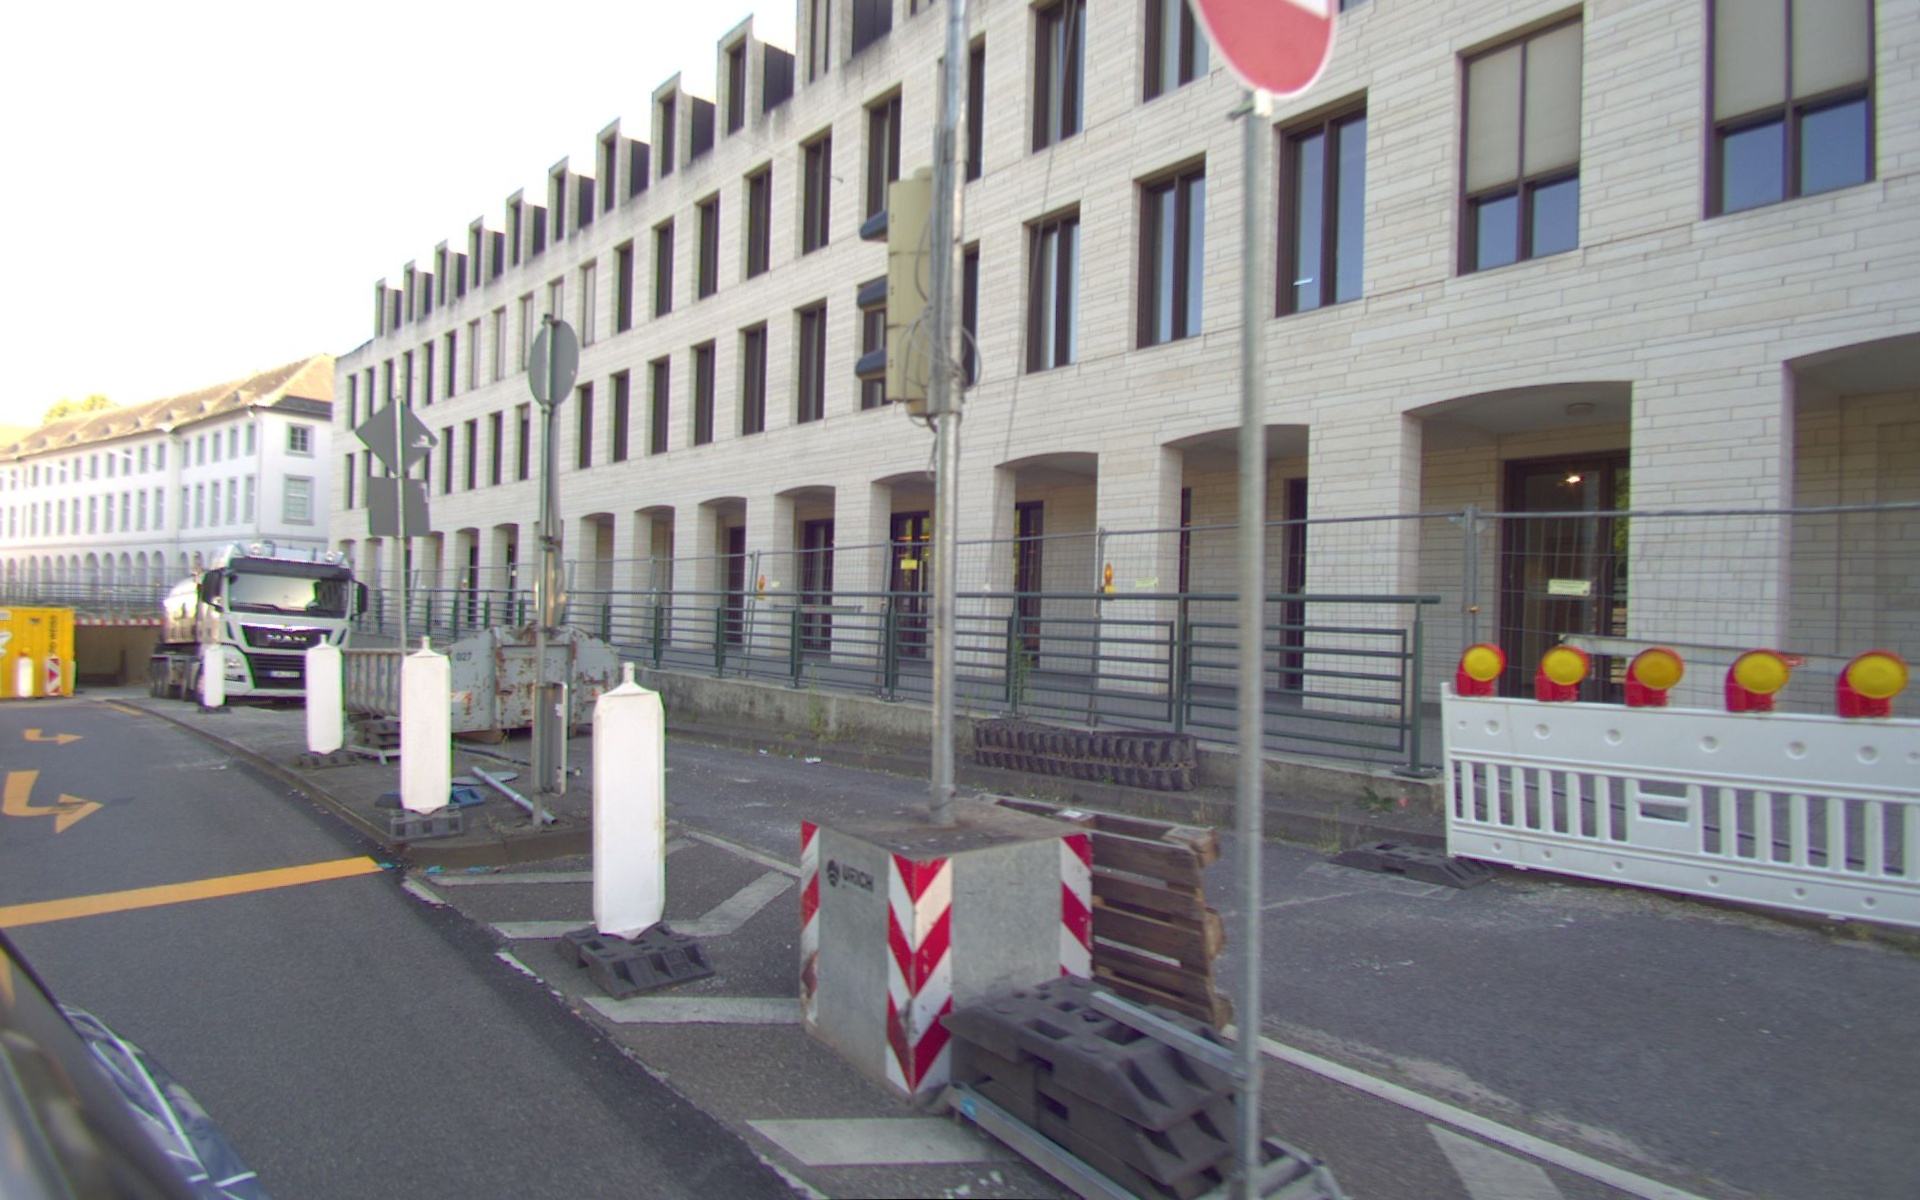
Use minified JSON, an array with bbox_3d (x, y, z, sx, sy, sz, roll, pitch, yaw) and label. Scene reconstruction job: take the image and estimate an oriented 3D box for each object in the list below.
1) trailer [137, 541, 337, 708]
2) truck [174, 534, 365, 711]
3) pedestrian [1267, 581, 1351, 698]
[{"bbox_3d":[-19.290,0.823,26.728,2.612,3.697,8.752,7,-8,-45],"label":"trailer"},{"bbox_3d":[-15.981,0.670,23.259,2.548,3.516,5.821,7,-7,-42],"label":"truck"},{"bbox_3d":[5.276,0.586,15.316,0.846,1.698,0.881,3,-2,-40],"label":"pedestrian"}]
